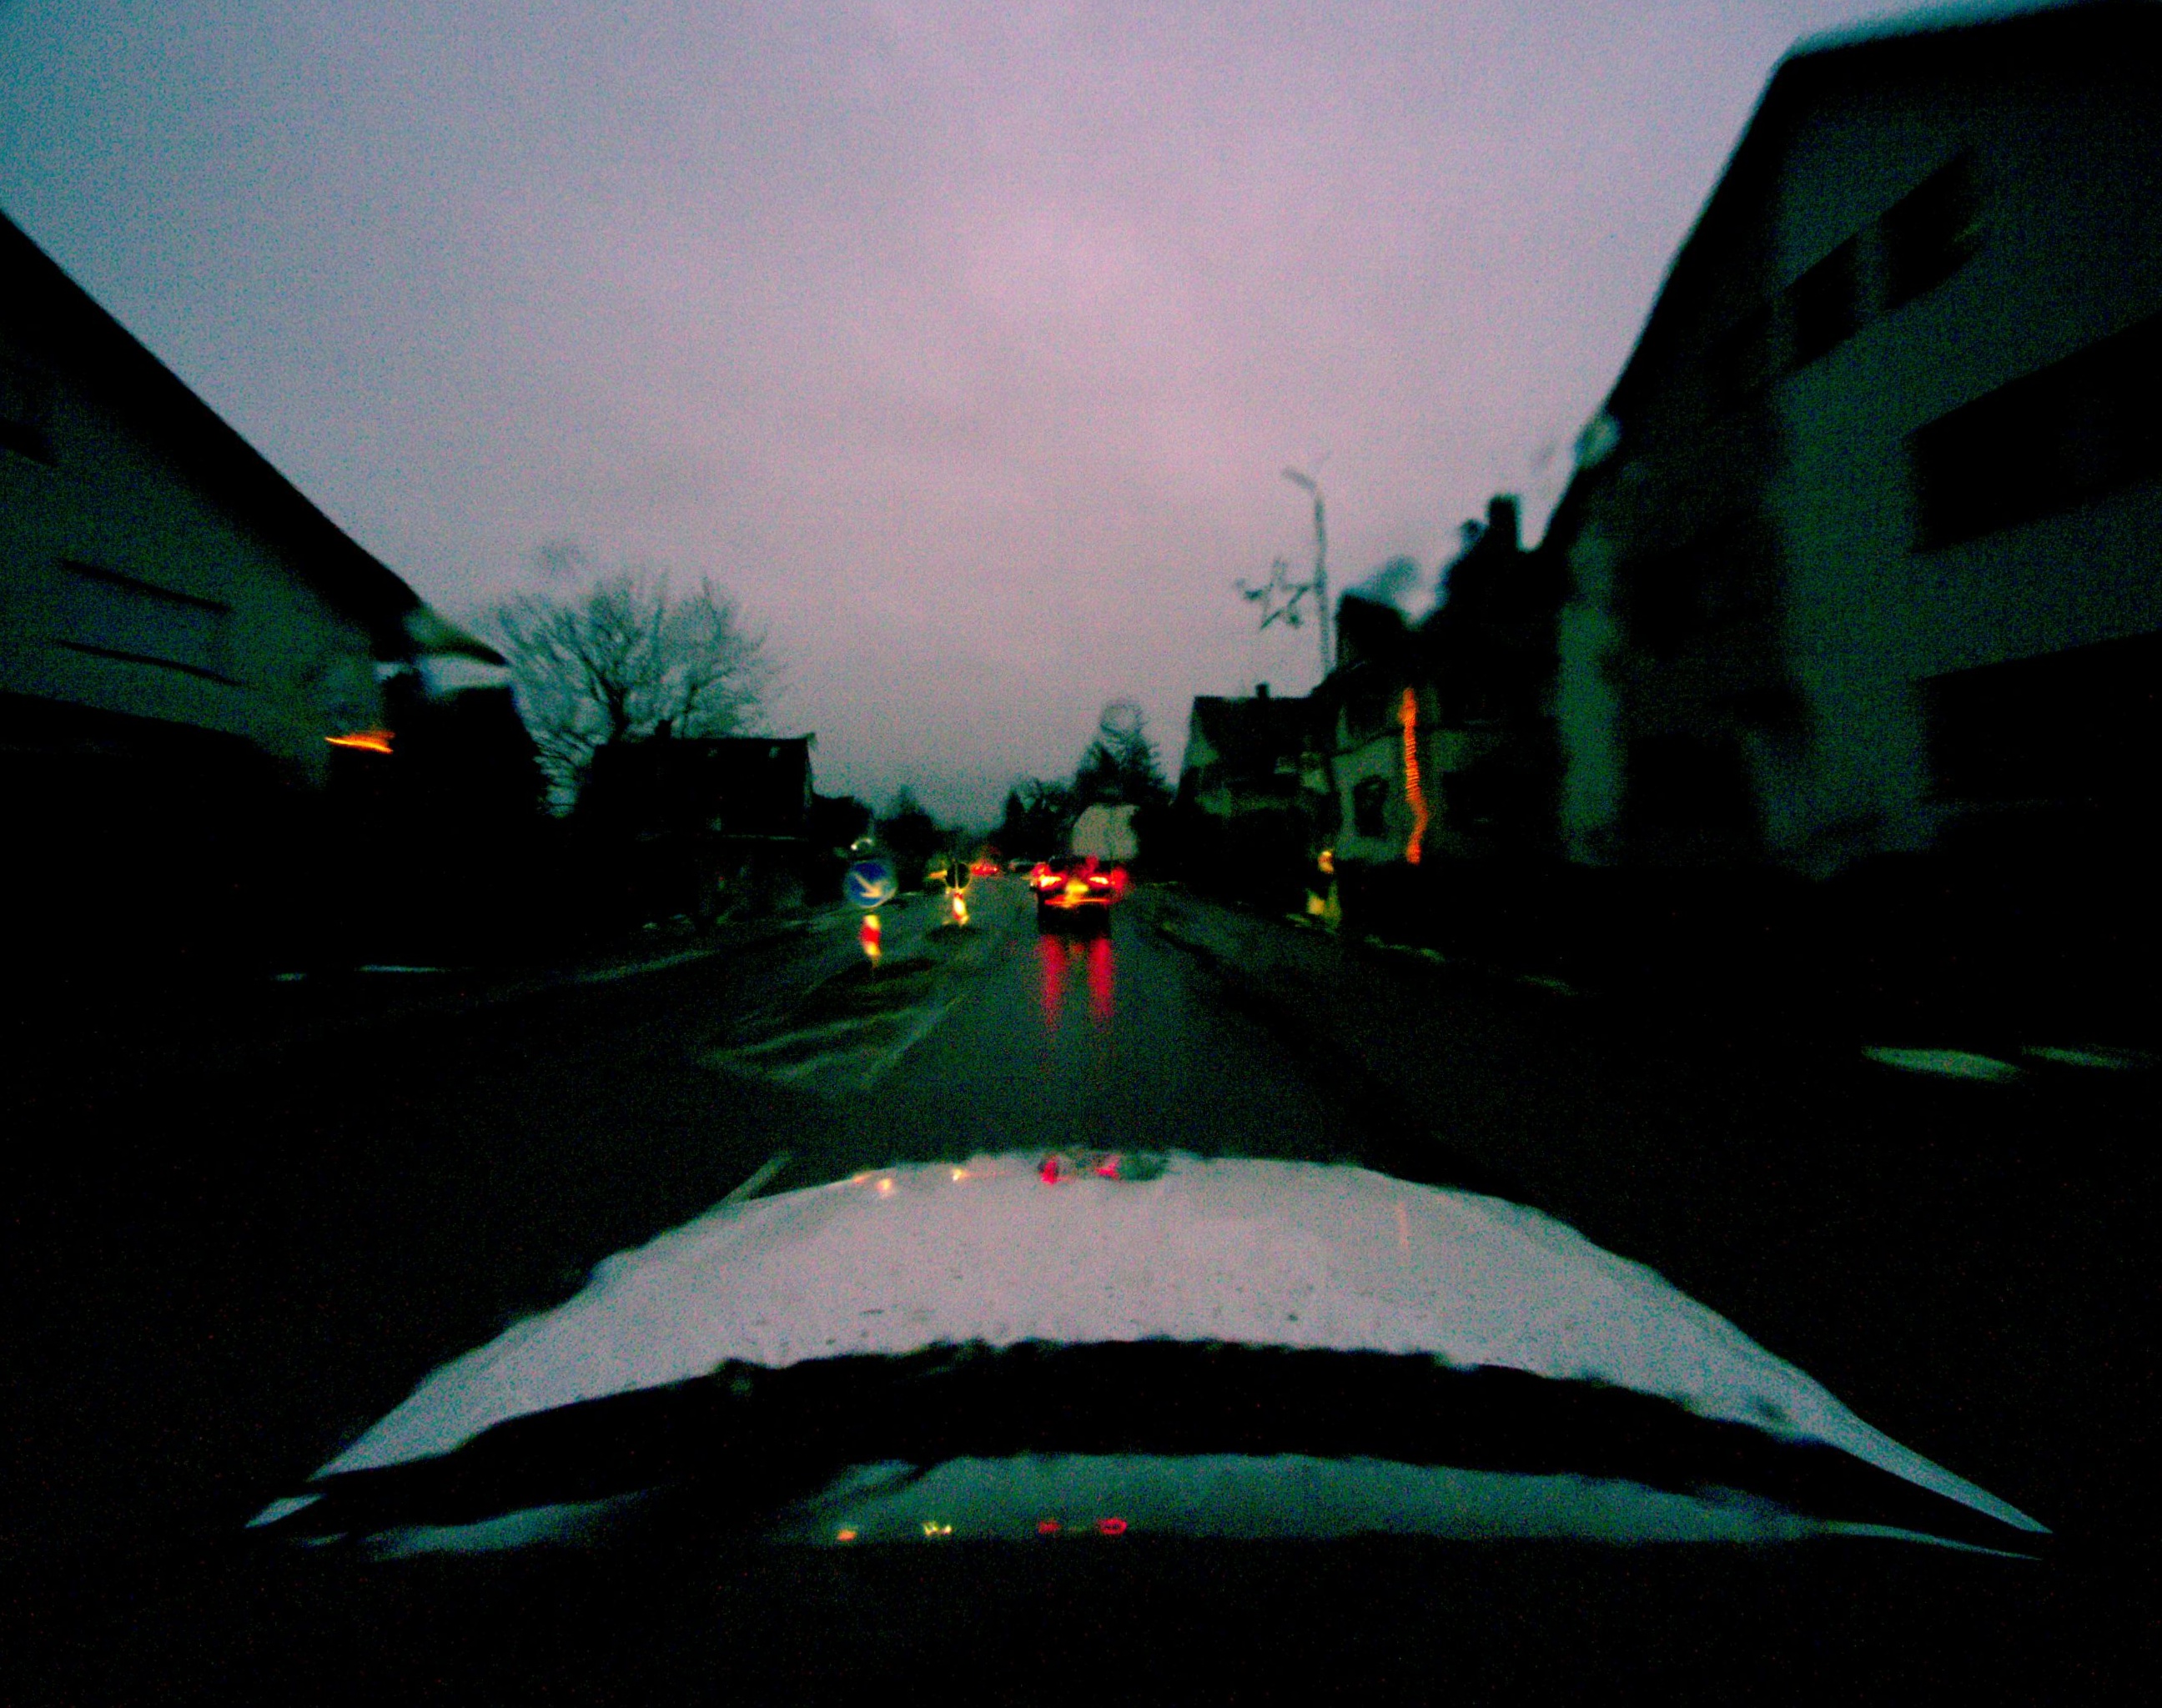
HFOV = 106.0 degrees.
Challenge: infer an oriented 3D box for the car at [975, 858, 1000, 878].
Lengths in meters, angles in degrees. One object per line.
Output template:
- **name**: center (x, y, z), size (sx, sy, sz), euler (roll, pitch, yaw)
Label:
- **car**: center (-10.188, 1.540, 88.878), size (2.310, 1.938, 4.999), euler (-2, -1, -11)

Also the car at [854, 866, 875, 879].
- **car**: center (-24.010, 2.080, 90.257), size (1.784, 1.393, 3.971), euler (0, -2, -21)

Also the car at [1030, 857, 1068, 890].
- **car**: center (-1.729, 0.977, 43.238), size (1.854, 1.647, 3.994), euler (-1, 0, -5)

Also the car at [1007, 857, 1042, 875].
- **car**: center (-7.086, 1.478, 102.059), size (4.243, 2.013, 1.806), euler (-2, 0, -7)

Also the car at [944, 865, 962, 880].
- **car**: center (-14.107, 2.044, 89.826), size (1.823, 1.554, 3.987), euler (-3, 0, -9)

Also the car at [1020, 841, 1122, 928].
- **car**: center (-0.296, 0.756, 21.481), size (2.303, 1.938, 5.014), euler (-2, -1, -2)

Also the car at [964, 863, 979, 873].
- **car**: center (-15.885, 2.055, 118.167), size (1.843, 1.331, 3.922), euler (-2, 0, -11)
